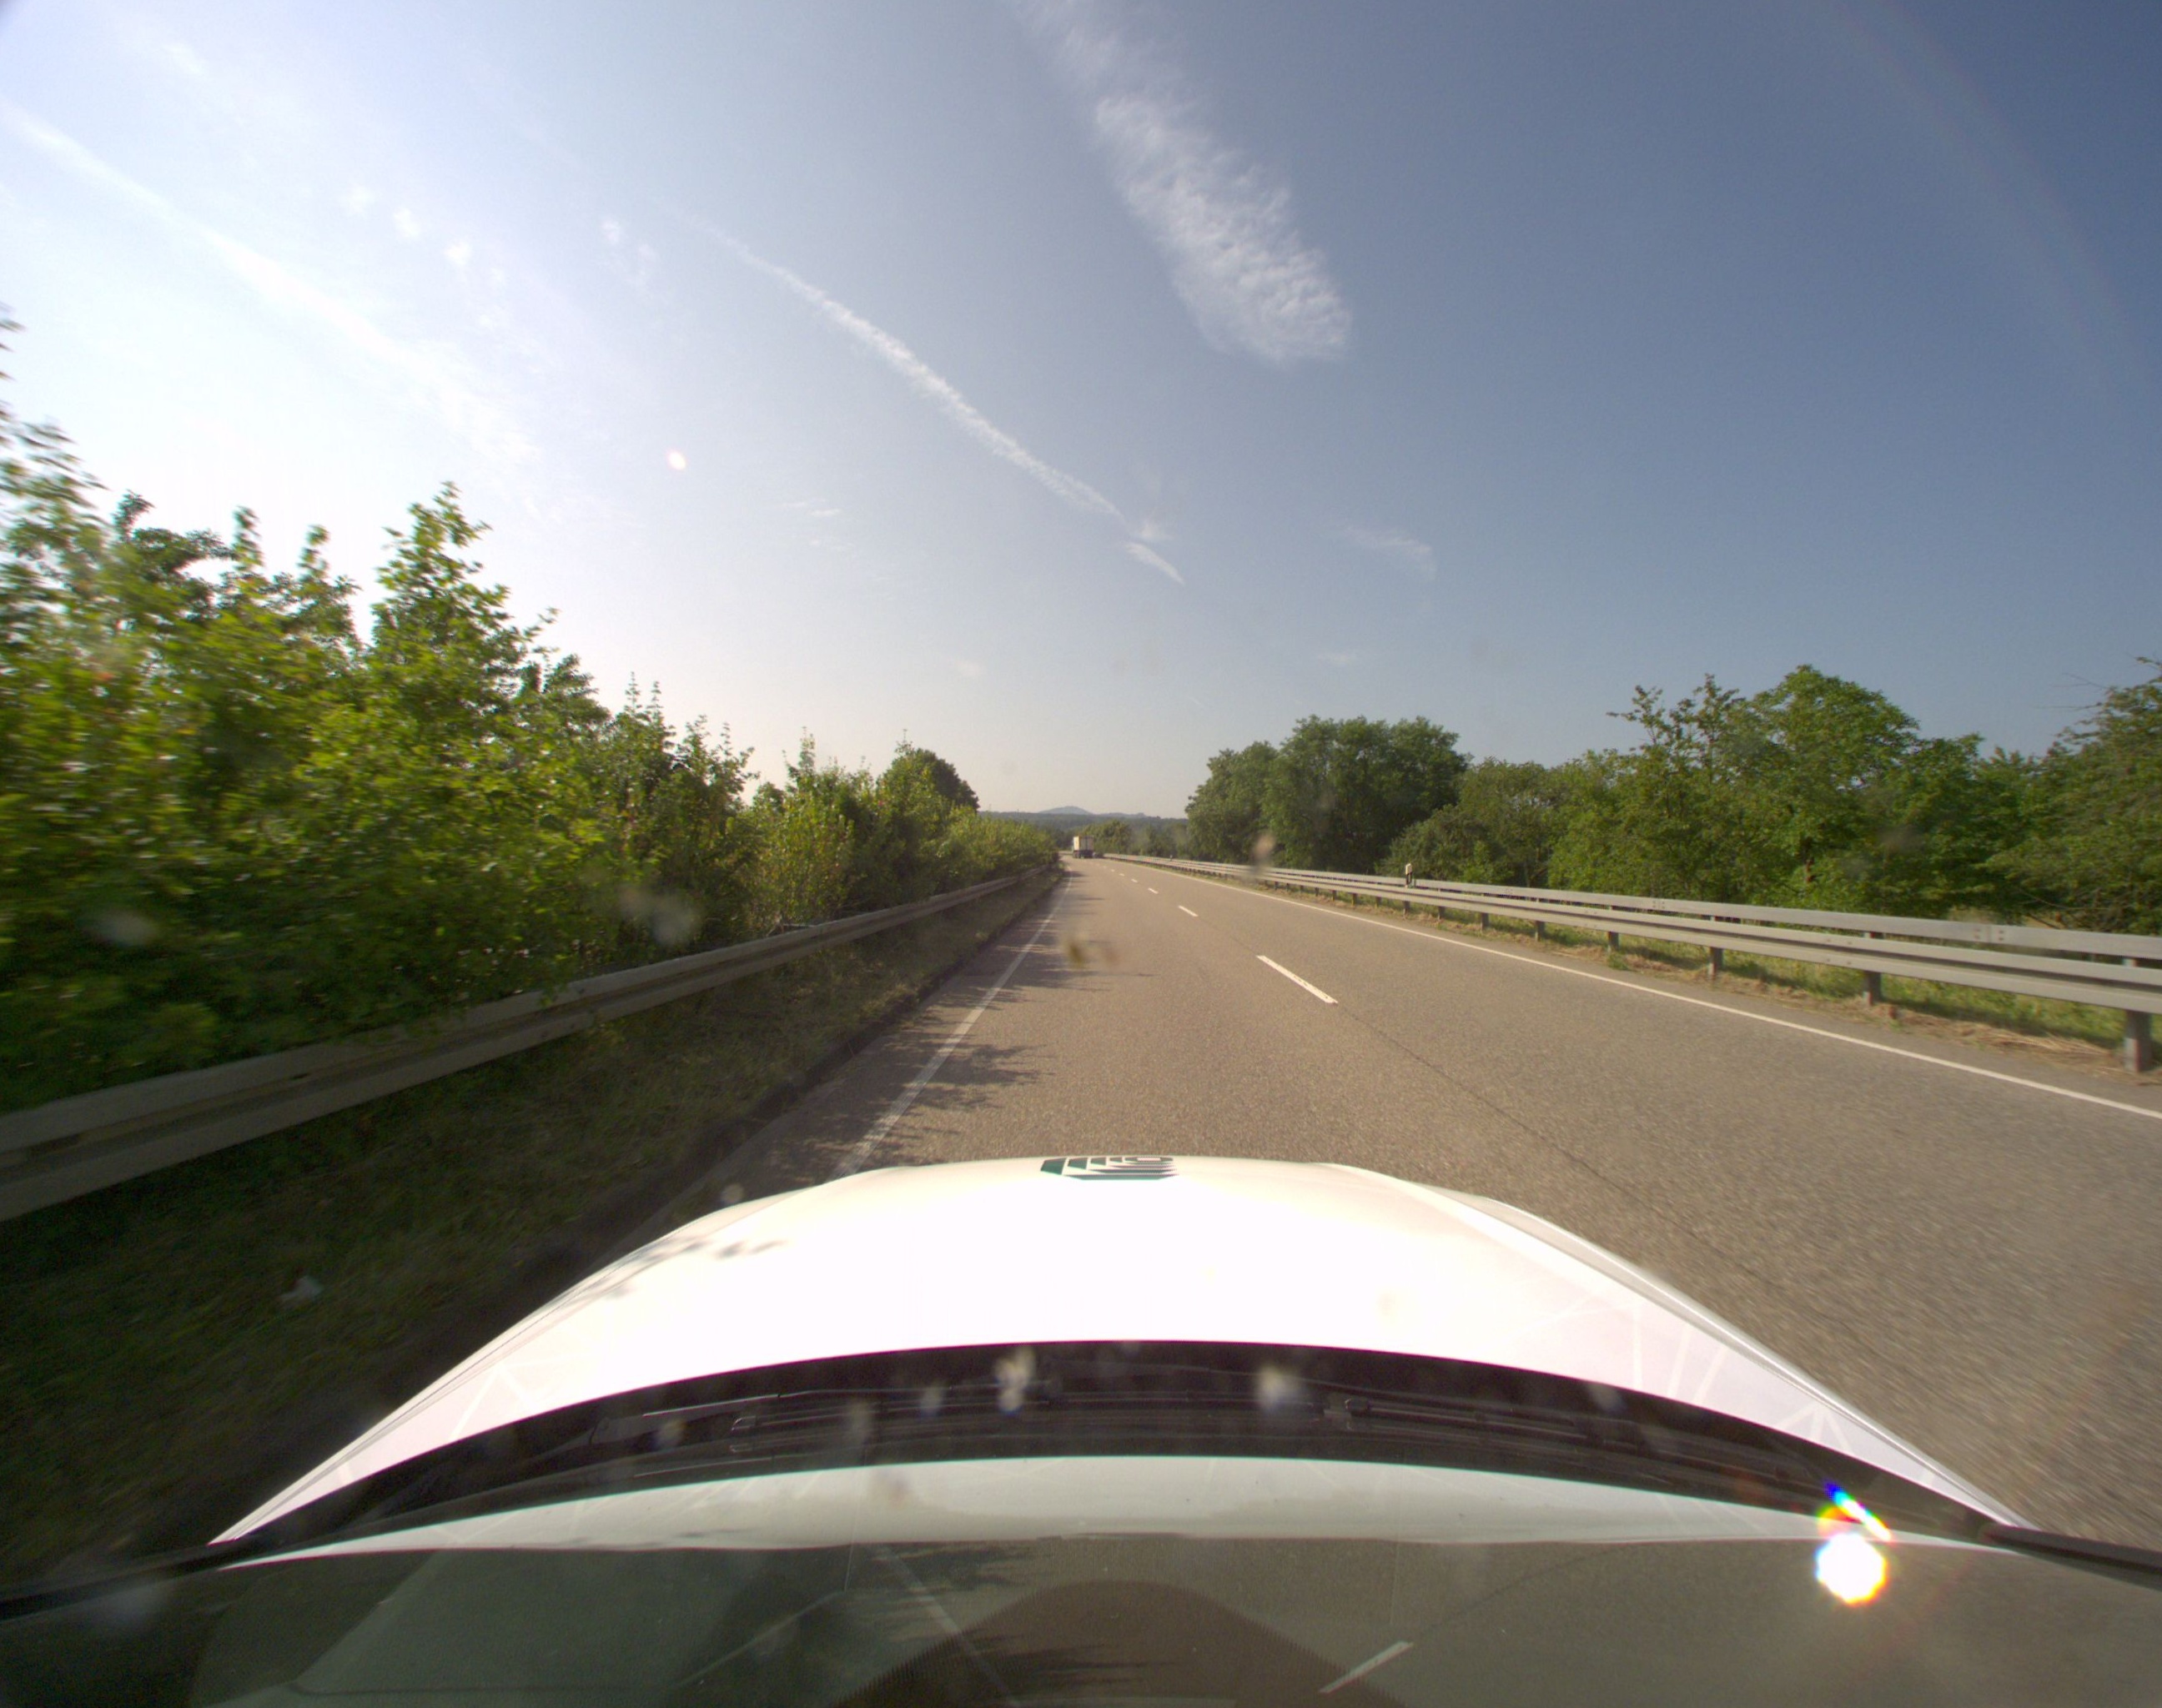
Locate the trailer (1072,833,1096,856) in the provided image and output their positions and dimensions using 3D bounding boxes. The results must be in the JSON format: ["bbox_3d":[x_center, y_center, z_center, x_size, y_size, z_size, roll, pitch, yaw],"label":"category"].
[{"bbox_3d":[0.455,-1.697,142.712,2.679,3.907,9.641,-1,1,-9],"label":"trailer"}]

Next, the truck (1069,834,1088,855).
[{"bbox_3d":[-0.499,-1.740,148.592,2.658,3.896,5.630,0,0,-9],"label":"truck"}]
